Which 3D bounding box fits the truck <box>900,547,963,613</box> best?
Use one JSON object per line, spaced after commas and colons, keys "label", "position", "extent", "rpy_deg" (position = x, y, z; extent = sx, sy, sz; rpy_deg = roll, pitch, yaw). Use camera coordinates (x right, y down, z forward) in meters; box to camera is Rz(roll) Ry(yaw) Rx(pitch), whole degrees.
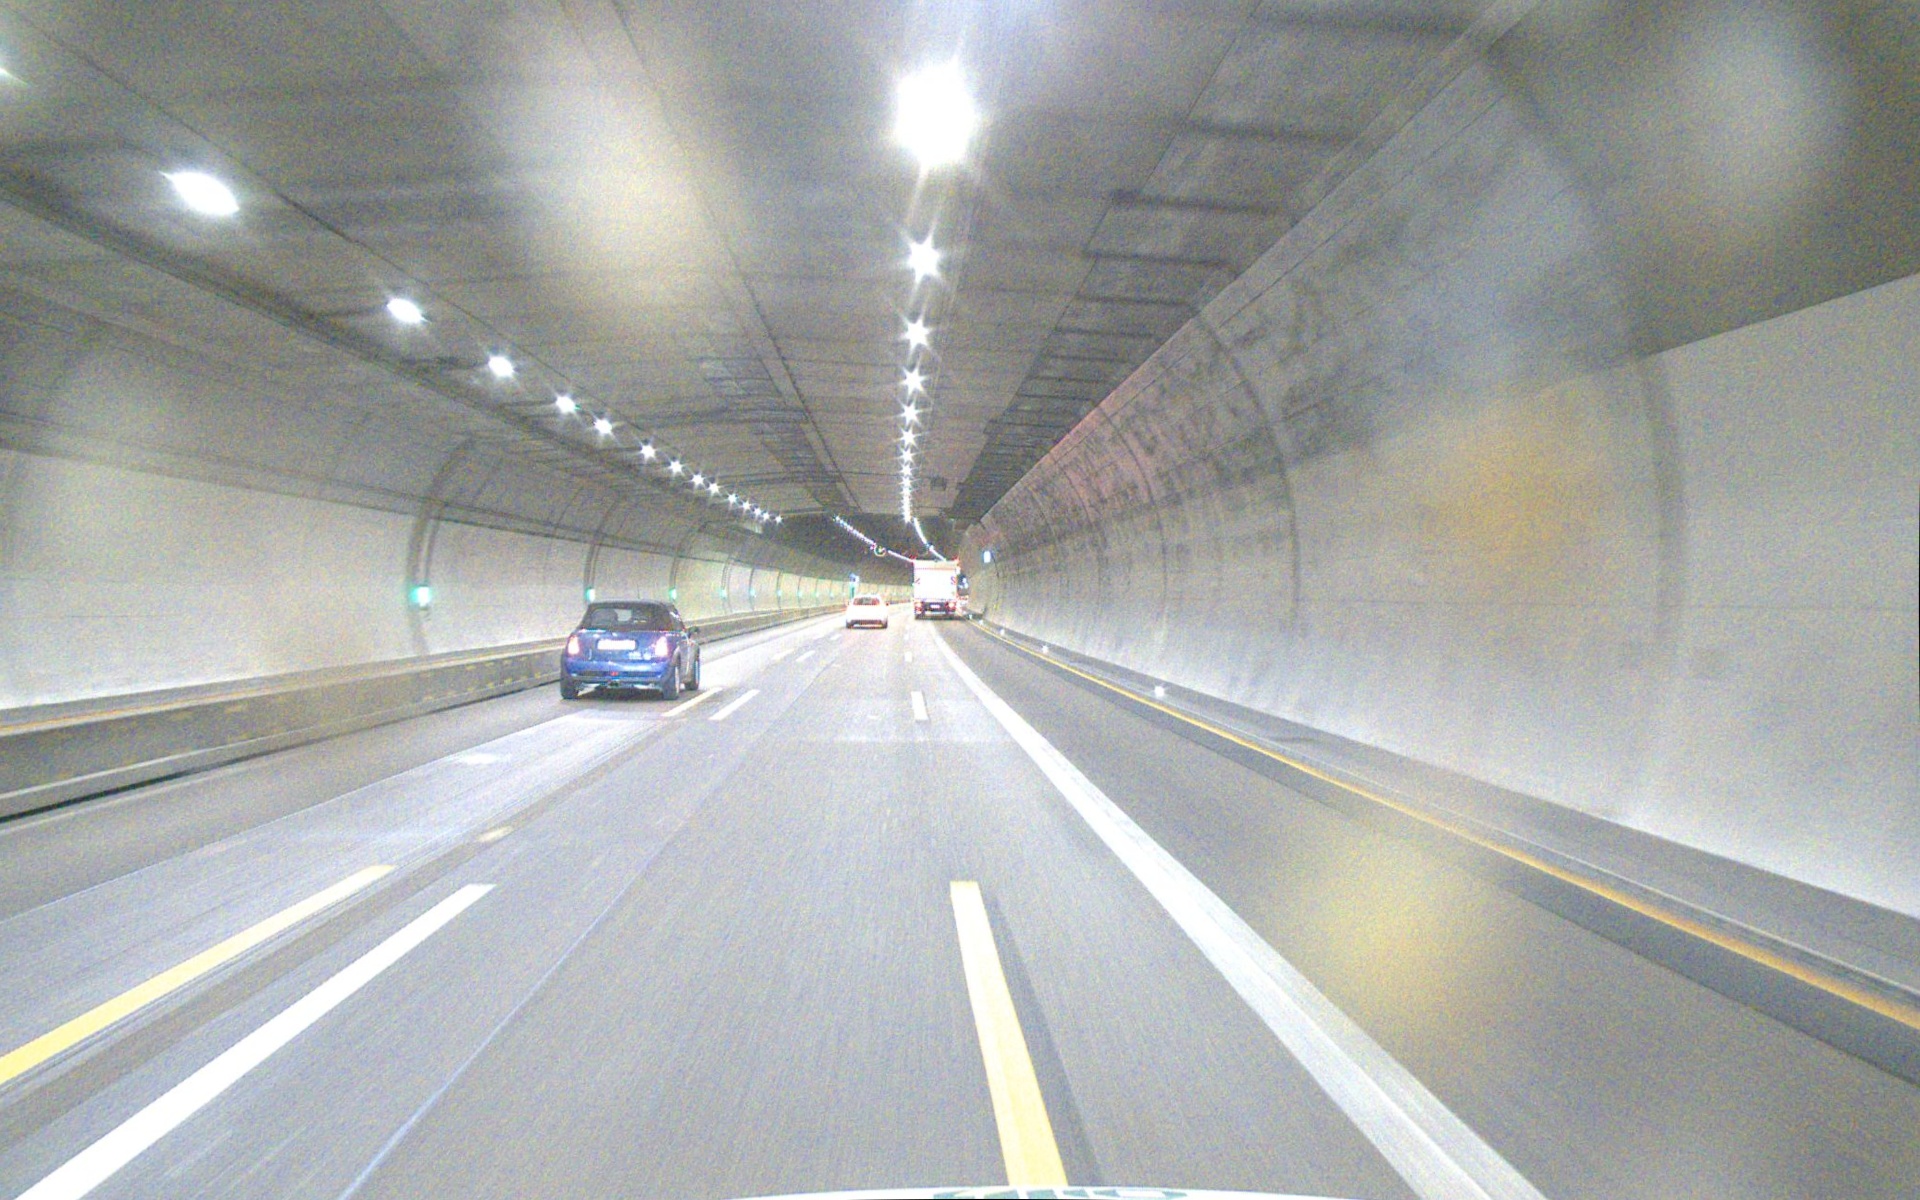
{"label": "truck", "position": [-1.708, -1.170, 100.593], "extent": [3.519, 3.714, 10.720], "rpy_deg": [1, 0, -1]}

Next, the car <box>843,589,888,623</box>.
{"label": "car", "position": [-4.282, 0.234, 74.511], "extent": [1.954, 1.437, 4.738], "rpy_deg": [1, 0, -4]}

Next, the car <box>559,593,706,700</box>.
{"label": "car", "position": [-4.856, 0.642, 24.951], "extent": [1.656, 1.442, 3.920], "rpy_deg": [1, 0, -4]}
